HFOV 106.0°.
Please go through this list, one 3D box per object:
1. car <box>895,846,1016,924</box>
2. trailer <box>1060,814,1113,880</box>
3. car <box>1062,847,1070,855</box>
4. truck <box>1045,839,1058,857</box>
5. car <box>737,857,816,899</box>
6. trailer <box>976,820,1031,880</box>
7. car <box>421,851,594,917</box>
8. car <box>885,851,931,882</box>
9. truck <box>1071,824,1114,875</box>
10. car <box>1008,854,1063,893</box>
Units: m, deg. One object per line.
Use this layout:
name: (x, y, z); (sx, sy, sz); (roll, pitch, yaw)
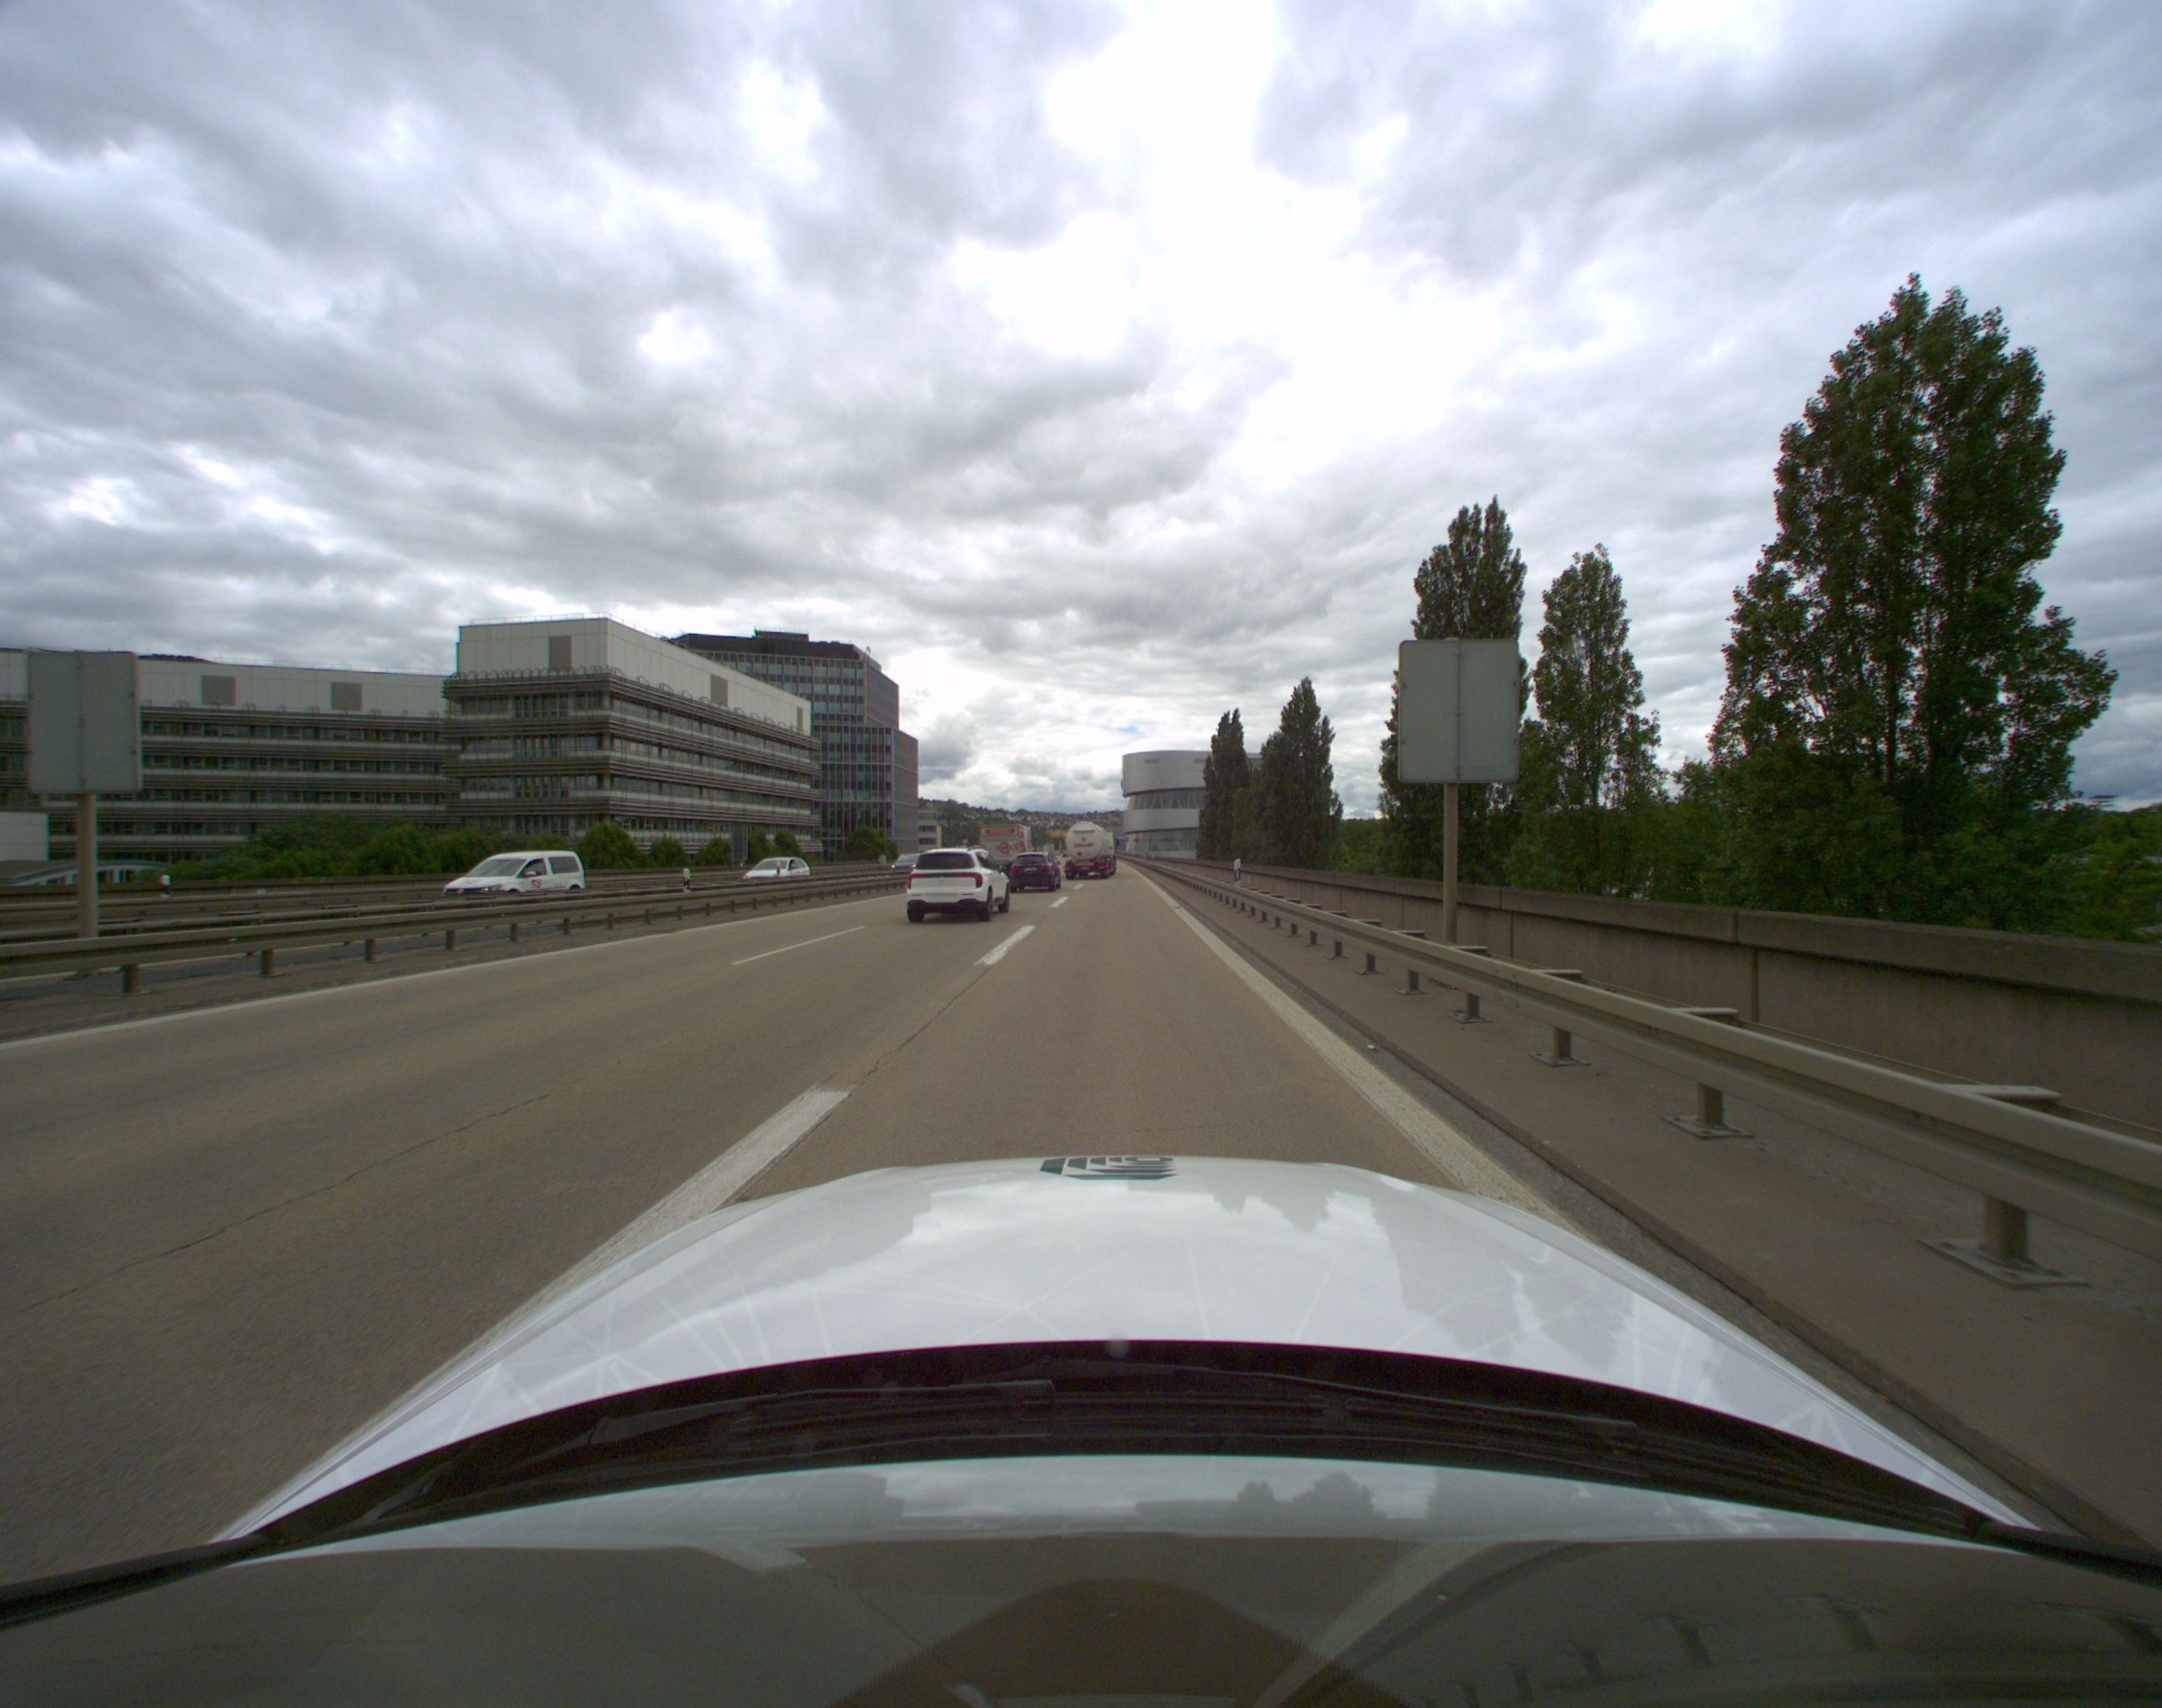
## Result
car: (-2.907, 0.676, 20.035); (1.985, 1.668, 4.895); (0, 0, 3)
trailer: (0.539, -0.453, 52.674); (2.780, 3.737, 11.165); (-2, 0, 3)
car: (-3.703, -0.800, 205.289); (1.988, 2.013, 3.998); (-2, 0, -2)
truck: (-6.737, -1.424, 188.733); (2.386, 3.893, 5.946); (-2, 0, 2)
car: (-12.721, 0.946, 34.268); (1.743, 1.560, 4.000); (-2, 0, 0)
trailer: (-5.109, -0.301, 55.133); (2.680, 3.690, 7.315); (-2, 0, 1)
car: (-17.147, 0.817, 24.687); (1.860, 1.711, 4.602); (-2, 0, 1)
car: (-11.913, 0.815, 56.372); (1.985, 2.013, 4.554); (-2, 0, 3)
truck: (0.913, -0.332, 59.104); (2.758, 3.430, 5.970); (-2, 0, 3)
car: (-1.849, 0.777, 34.322); (1.839, 1.505, 4.268); (0, 0, 2)
